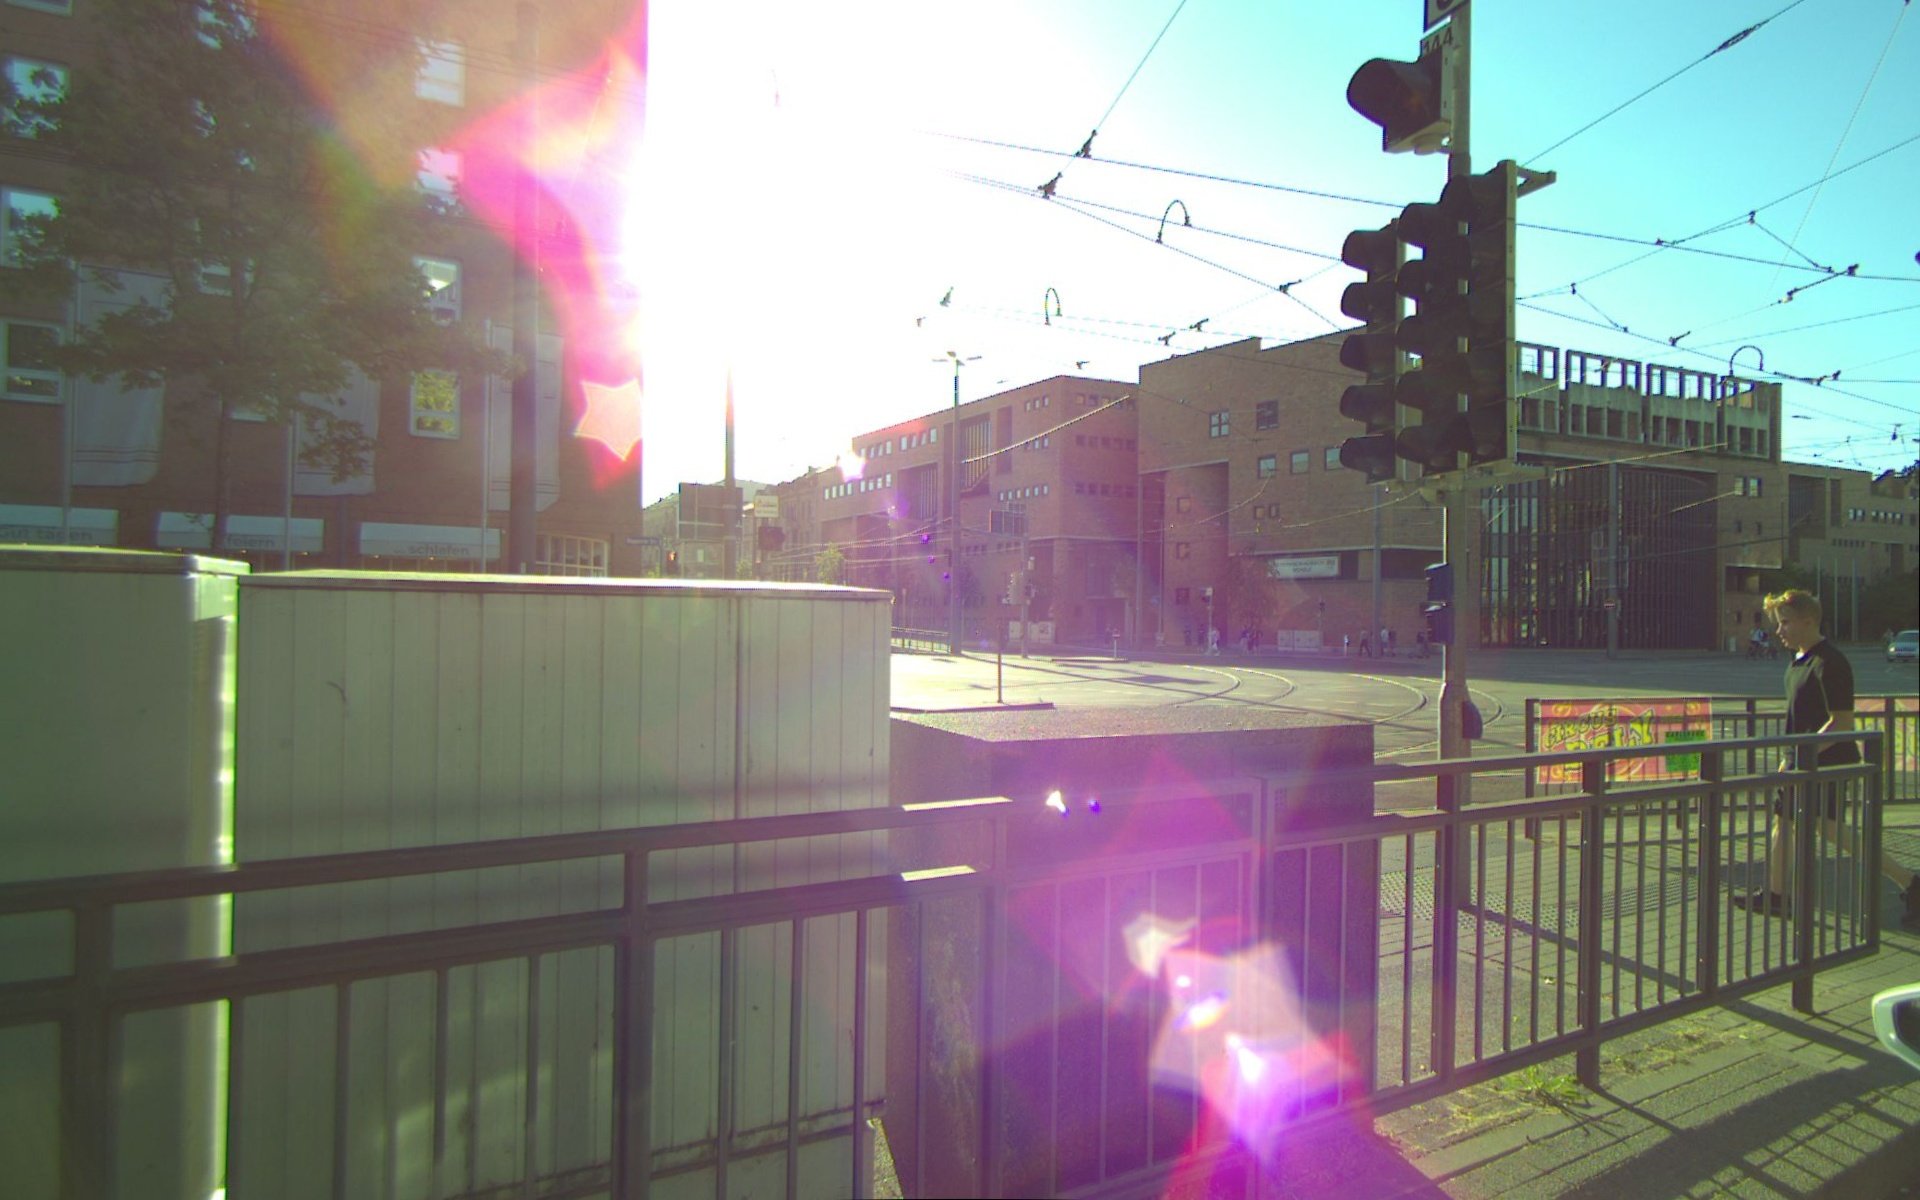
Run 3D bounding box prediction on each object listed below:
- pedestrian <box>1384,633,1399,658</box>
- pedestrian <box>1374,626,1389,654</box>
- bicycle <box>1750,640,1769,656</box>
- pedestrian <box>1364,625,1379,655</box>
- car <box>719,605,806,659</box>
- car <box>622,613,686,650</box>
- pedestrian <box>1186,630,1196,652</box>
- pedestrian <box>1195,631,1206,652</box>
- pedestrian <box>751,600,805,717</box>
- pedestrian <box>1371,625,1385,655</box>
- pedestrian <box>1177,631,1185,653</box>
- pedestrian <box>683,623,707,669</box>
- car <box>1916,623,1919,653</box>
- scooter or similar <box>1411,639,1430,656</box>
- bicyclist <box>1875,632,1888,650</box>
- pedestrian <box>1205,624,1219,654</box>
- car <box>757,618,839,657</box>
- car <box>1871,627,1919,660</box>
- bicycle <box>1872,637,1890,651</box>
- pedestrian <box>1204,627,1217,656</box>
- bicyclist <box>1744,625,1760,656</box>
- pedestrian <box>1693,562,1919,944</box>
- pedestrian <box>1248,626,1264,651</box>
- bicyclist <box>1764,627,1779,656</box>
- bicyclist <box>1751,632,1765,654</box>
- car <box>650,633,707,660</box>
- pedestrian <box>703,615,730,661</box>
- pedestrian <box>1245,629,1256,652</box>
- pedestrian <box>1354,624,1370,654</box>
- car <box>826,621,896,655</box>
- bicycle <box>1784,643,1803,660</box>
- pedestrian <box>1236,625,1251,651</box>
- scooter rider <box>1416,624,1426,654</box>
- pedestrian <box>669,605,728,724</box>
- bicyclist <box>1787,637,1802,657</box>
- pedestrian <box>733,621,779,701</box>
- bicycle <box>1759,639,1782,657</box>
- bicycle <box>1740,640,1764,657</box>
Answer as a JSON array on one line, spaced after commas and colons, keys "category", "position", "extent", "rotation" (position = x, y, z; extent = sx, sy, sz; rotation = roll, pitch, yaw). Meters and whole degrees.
[{"category": "pedestrian", "position": [24.878, 2.609, 57.870], "extent": [0.637, 1.440, 0.593], "rotation": [1, -1, -40]}, {"category": "pedestrian", "position": [24.895, 2.374, 59.283], "extent": [0.606, 1.647, 0.612], "rotation": [1, -1, -34]}, {"category": "bicycle", "position": [46.715, 2.800, 58.692], "extent": [1.304, 0.976, 0.465], "rotation": [1, -1, -30]}, {"category": "pedestrian", "position": [23.454, 2.261, 57.259], "extent": [0.587, 1.706, 0.545], "rotation": [1, -1, -38]}, {"category": "car", "position": [-9.523, 1.514, 48.034], "extent": [1.982, 2.419, 5.156], "rotation": [1, -2, -38]}, {"category": "car", "position": [-18.568, 1.879, 60.833], "extent": [1.982, 2.122, 5.156], "rotation": [1, -2, -38]}, {"category": "pedestrian", "position": [15.545, 2.744, 67.530], "extent": [0.562, 1.428, 0.554], "rotation": [0, -1, 4]}, {"category": "pedestrian", "position": [16.162, 2.791, 67.518], "extent": [0.549, 1.445, 0.556], "rotation": [0, -1, 0]}, {"category": "pedestrian", "position": [-2.990, 0.943, 16.465], "extent": [0.647, 1.864, 0.835], "rotation": [1, -1, -28]}, {"category": "pedestrian", "position": [24.330, 2.329, 58.422], "extent": [0.569, 1.706, 0.543], "rotation": [1, -1, -39]}, {"category": "pedestrian", "position": [14.895, 2.800, 67.681], "extent": [0.523, 1.482, 0.591], "rotation": [0, -1, 13]}, {"category": "pedestrian", "position": [-9.652, 1.670, 36.536], "extent": [0.658, 1.669, 0.638], "rotation": [1, -1, -34]}, {"category": "car", "position": [55.246, 2.111, 55.898], "extent": [3.954, 1.661, 1.983], "rotation": [1, -2, -31]}, {"category": "scooter or similar", "position": [25.372, 2.636, 55.377], "extent": [0.931, 0.911, 0.176], "rotation": [0, -1, 14]}, {"category": "bicyclist", "position": [63.220, 2.806, 68.919], "extent": [0.574, 1.226, 0.503], "rotation": [1, -1, -30]}, {"category": "pedestrian", "position": [13.928, 2.162, 55.537], "extent": [0.539, 1.670, 0.599], "rotation": [1, -1, -13]}, {"category": "car", "position": [-8.420, 1.904, 51.796], "extent": [1.982, 1.928, 5.156], "rotation": [1, -2, -38]}, {"category": "car", "position": [48.977, 2.223, 51.784], "extent": [3.954, 1.661, 1.983], "rotation": [1, -2, -31]}, {"category": "bicycle", "position": [63.284, 3.023, 68.988], "extent": [1.469, 0.976, 0.489], "rotation": [1, -1, -30]}, {"category": "pedestrian", "position": [14.108, 2.324, 56.618], "extent": [0.578, 1.635, 0.598], "rotation": [0, -1, -1]}, {"category": "bicyclist", "position": [44.442, 2.255, 56.353], "extent": [0.574, 1.754, 0.534], "rotation": [1, -1, -30]}, {"category": "pedestrian", "position": [4.470, 0.715, 5.054], "extent": [1.071, 1.772, 0.743], "rotation": [1, 0, 19]}, {"category": "pedestrian", "position": [16.229, 2.097, 55.000], "extent": [0.668, 1.357, 0.604], "rotation": [0, -1, -4]}, {"category": "bicyclist", "position": [44.981, 2.292, 55.679], "extent": [0.574, 1.624, 0.456], "rotation": [1, -1, -30]}, {"category": "bicyclist", "position": [46.584, 2.511, 58.632], "extent": [0.574, 1.321, 0.503], "rotation": [1, -1, -30]}, {"category": "car", "position": [-15.038, 2.460, 53.544], "extent": [1.729, 1.372, 3.960], "rotation": [1, -2, -36]}, {"category": "pedestrian", "position": [-11.206, 1.731, 46.172], "extent": [0.856, 2.040, 0.880], "rotation": [2, 0, -39]}, {"category": "pedestrian", "position": [18.822, 2.628, 65.079], "extent": [0.488, 1.526, 0.543], "rotation": [1, -2, -43]}, {"category": "pedestrian", "position": [23.485, 2.281, 58.674], "extent": [0.646, 1.706, 0.615], "rotation": [1, -2, -41]}, {"category": "car", "position": [-5.210, 1.955, 52.388], "extent": [1.980, 1.572, 3.961], "rotation": [2, 0, -35]}, {"category": "bicycle", "position": [49.309, 3.050, 59.431], "extent": [1.332, 0.976, 0.449], "rotation": [1, -1, -30]}, {"category": "pedestrian", "position": [16.093, 2.161, 57.036], "extent": [0.603, 1.473, 0.569], "rotation": [1, -1, -9]}, {"category": "scooter rider", "position": [25.425, 2.159, 55.391], "extent": [0.429, 1.669, 0.229], "rotation": [0, -1, 15]}, {"category": "pedestrian", "position": [-4.197, 1.012, 16.106], "extent": [0.713, 1.837, 0.904], "rotation": [1, -1, -28]}, {"category": "bicyclist", "position": [49.446, 2.769, 59.512], "extent": [0.574, 1.194, 0.503], "rotation": [1, -1, -30]}, {"category": "pedestrian", "position": [-4.381, 1.294, 21.534], "extent": [0.709, 1.669, 0.953], "rotation": [1, -1, -30]}, {"category": "bicycle", "position": [44.935, 2.667, 55.661], "extent": [1.557, 0.976, 0.470], "rotation": [1, -1, -30]}, {"category": "bicycle", "position": [44.434, 2.715, 56.351], "extent": [1.568, 0.976, 0.539], "rotation": [1, -1, -30]}]
